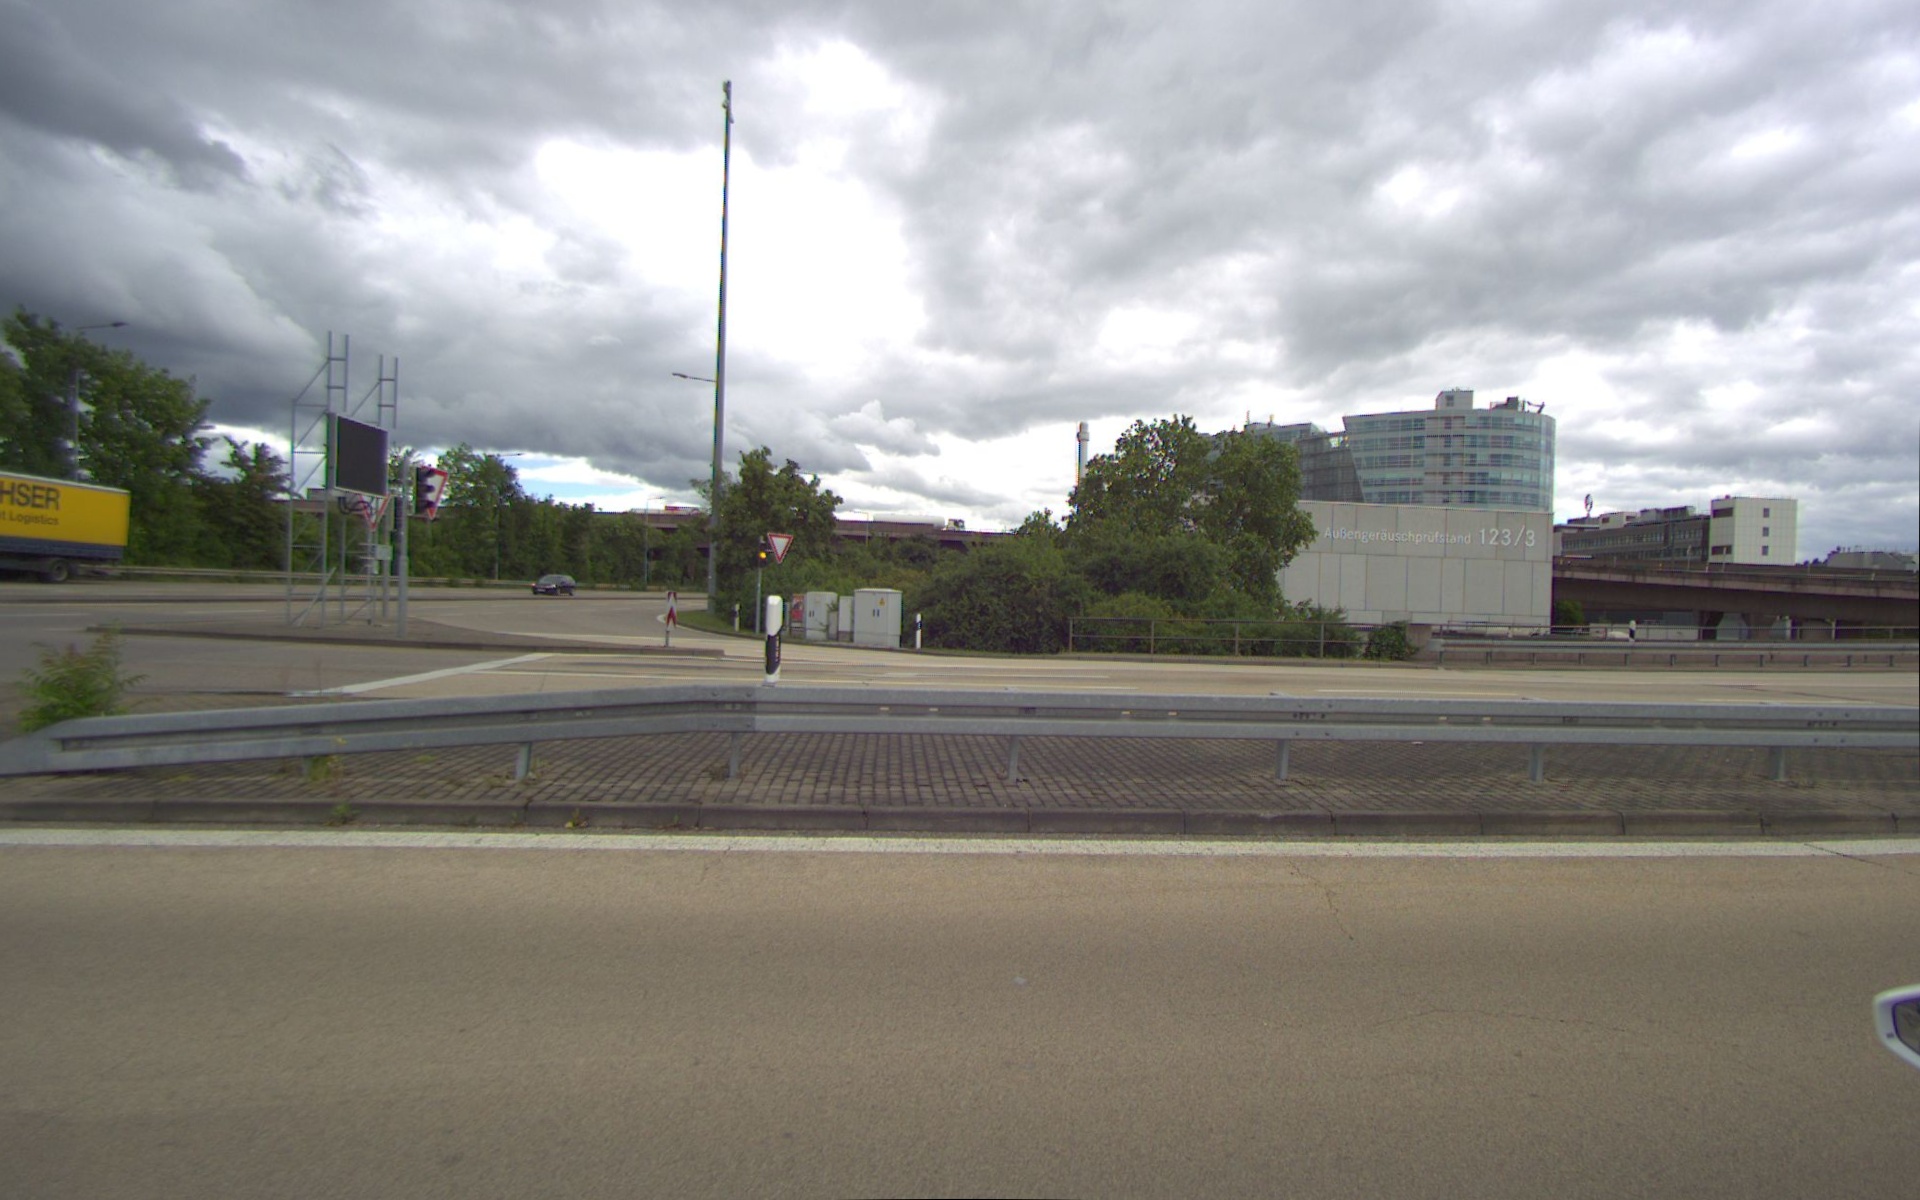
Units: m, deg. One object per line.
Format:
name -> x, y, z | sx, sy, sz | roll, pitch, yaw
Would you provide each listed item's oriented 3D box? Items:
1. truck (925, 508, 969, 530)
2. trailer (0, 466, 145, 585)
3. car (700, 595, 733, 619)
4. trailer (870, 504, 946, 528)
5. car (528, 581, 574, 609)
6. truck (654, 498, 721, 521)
truck -> -1.901, -11.747, 146.166 | 5.821, 2.737, 2.144 | 5, 3, 17
trailer -> -36.249, -2.789, 37.209 | 2.583, 4.260, 11.656 | 2, 0, 0
car -> -19.570, 0.546, 80.843 | 1.892, 1.581, 3.996 | 4, 3, -5
trailer -> -7.674, -12.396, 147.878 | 10.888, 3.009, 2.386 | 4, 4, 17
car -> -29.280, -0.359, 72.023 | 1.597, 1.683, 4.122 | 4, 3, -2
truck -> -43.894, -14.524, 161.862 | 10.659, 3.285, 2.286 | 2, 0, 15
